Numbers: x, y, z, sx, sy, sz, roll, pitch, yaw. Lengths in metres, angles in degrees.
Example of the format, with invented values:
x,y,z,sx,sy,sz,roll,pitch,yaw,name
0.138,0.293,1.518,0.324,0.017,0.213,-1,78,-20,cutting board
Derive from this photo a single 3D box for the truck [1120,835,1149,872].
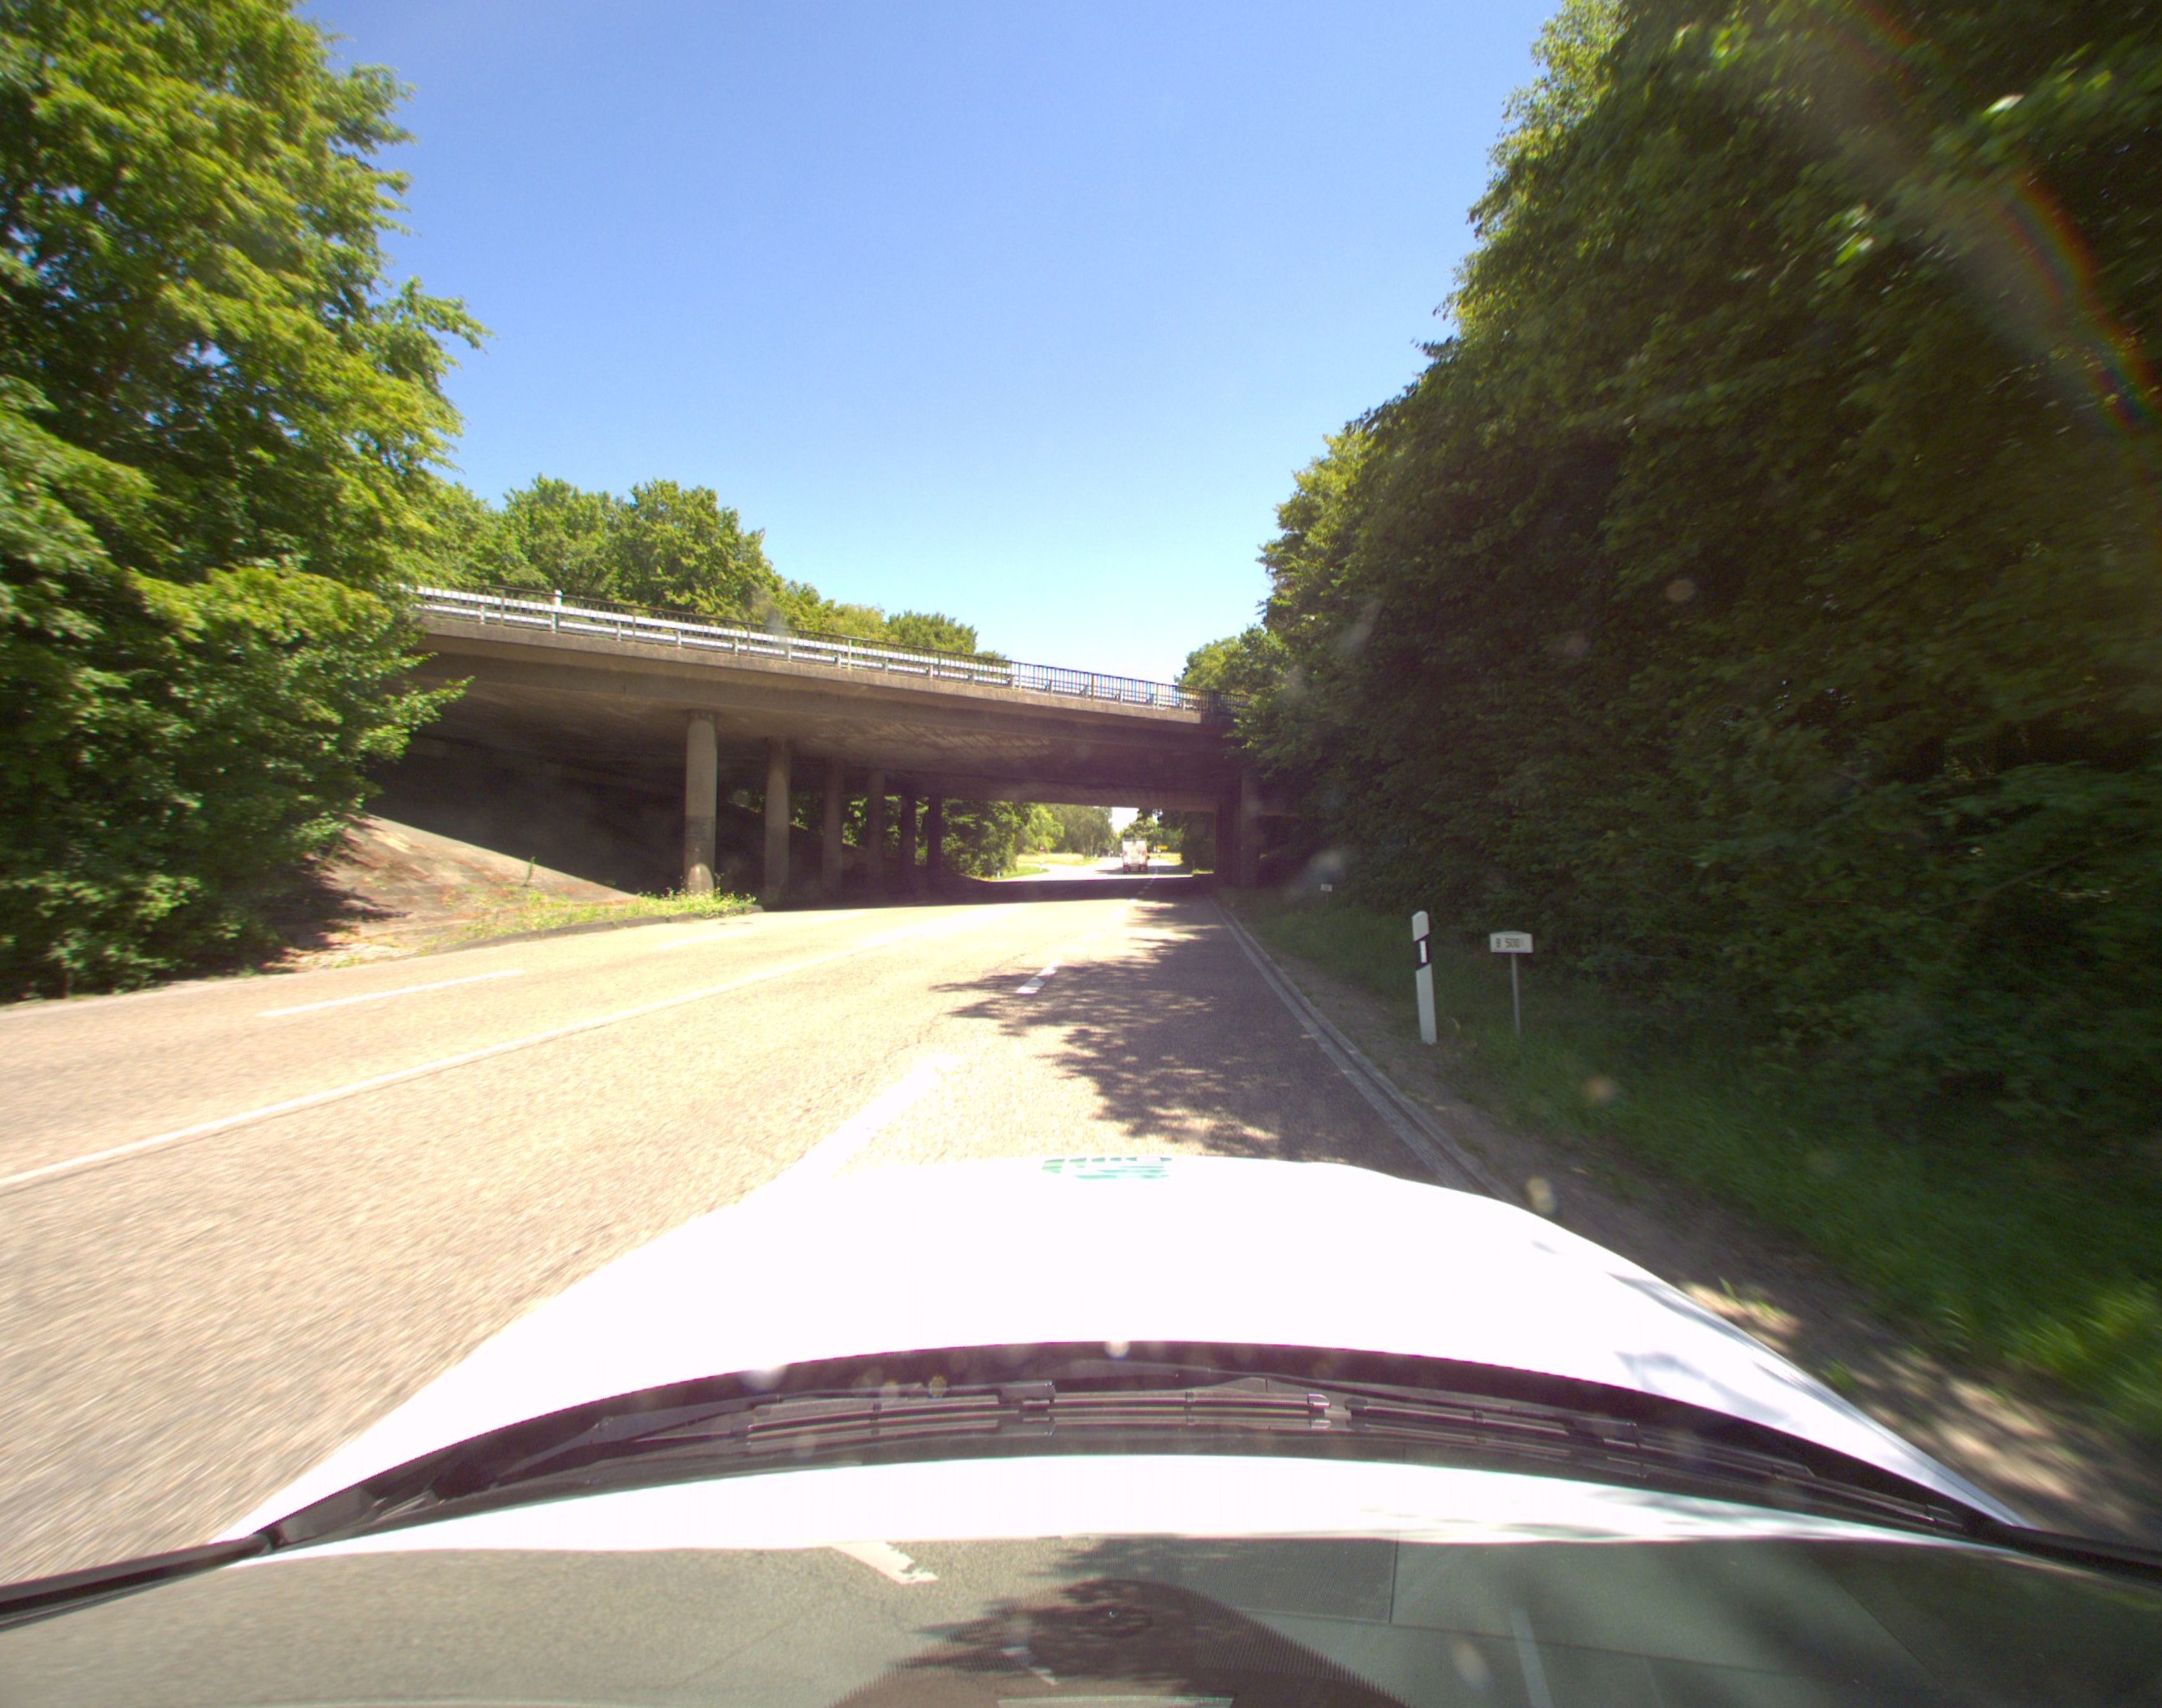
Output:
x,y,z,sx,sy,sz,roll,pitch,yaw,name
4.630,0.003,69.309,2.229,2.985,5.904,1,-1,6,truck
